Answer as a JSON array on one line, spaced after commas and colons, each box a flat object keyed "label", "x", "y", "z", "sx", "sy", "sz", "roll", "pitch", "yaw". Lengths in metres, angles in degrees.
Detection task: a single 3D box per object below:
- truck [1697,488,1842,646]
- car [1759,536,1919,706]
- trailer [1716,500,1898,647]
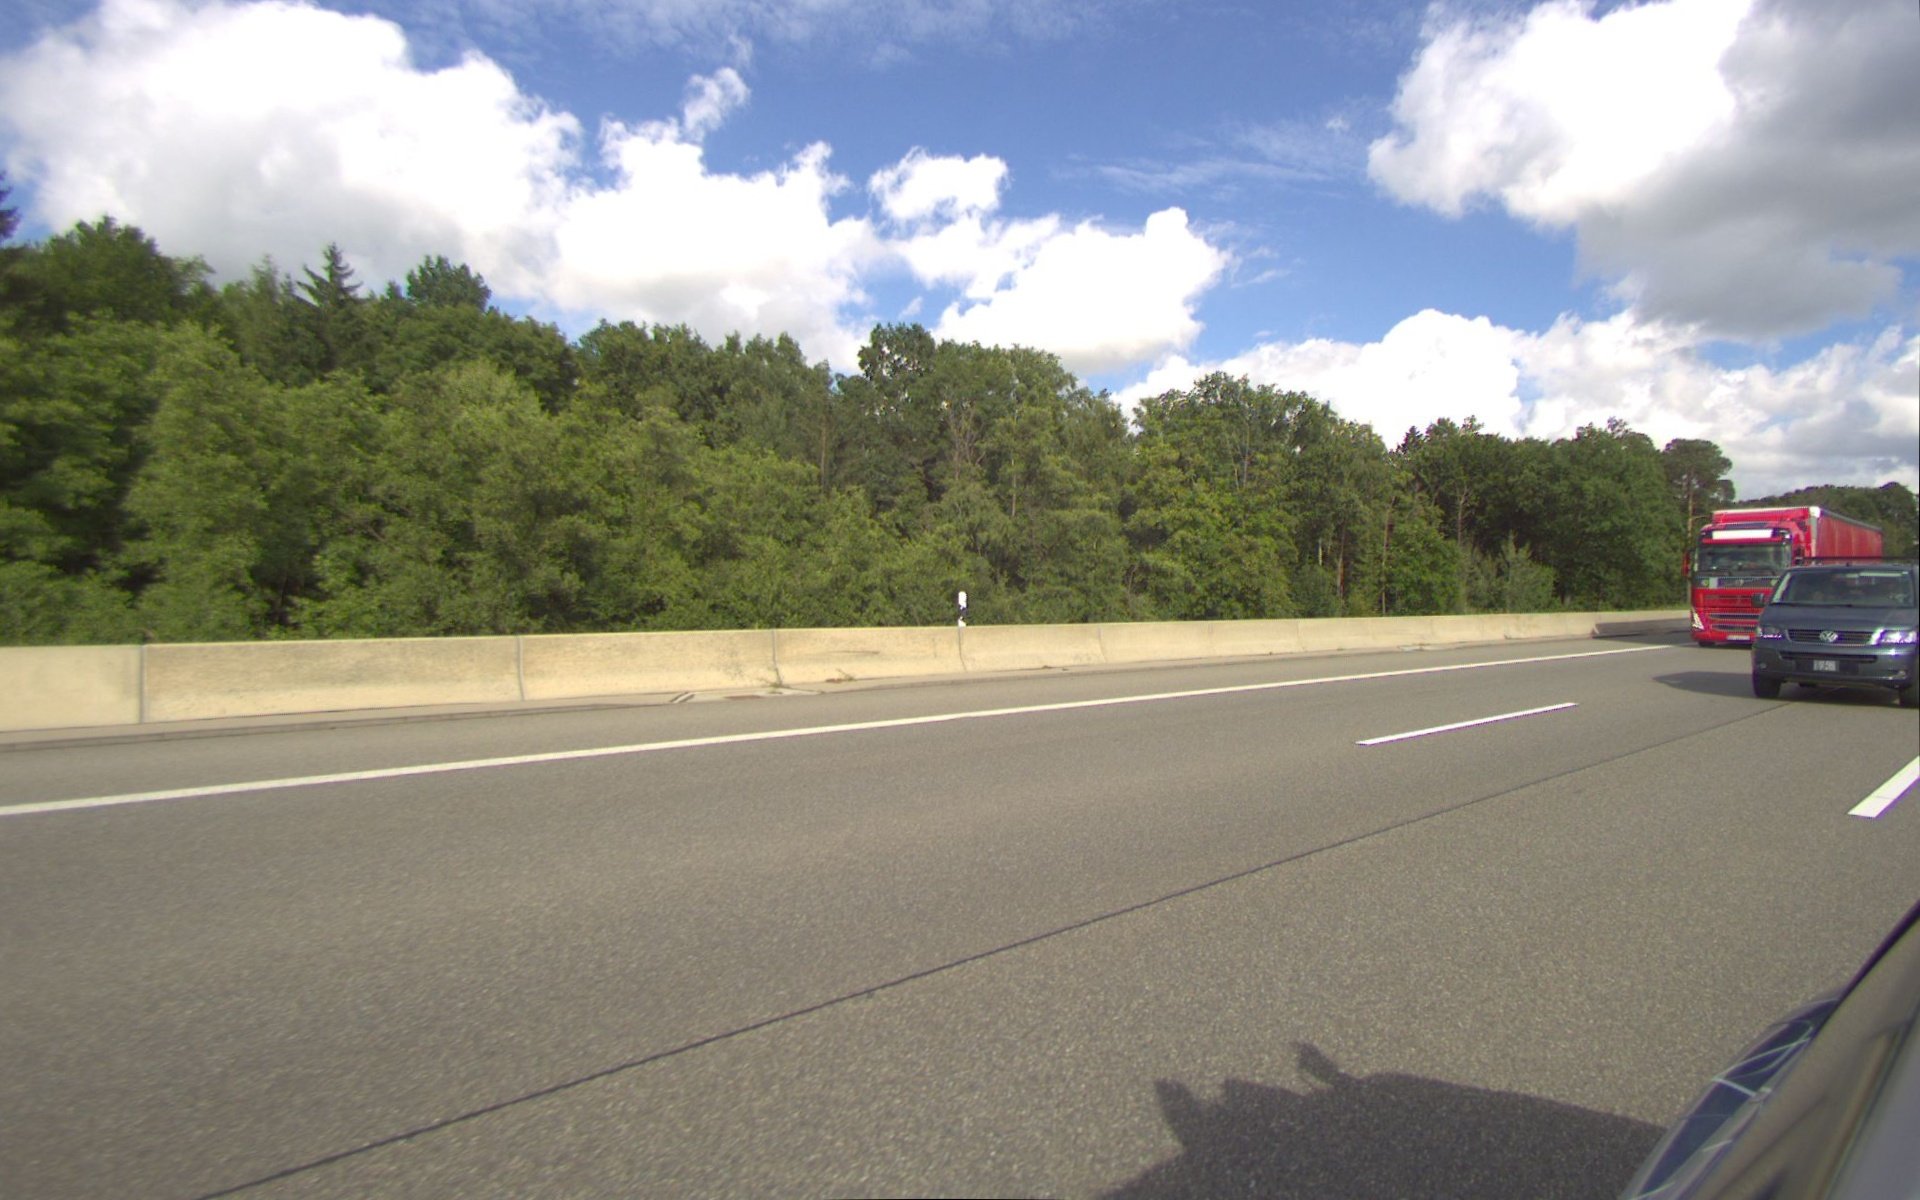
[{"label": "truck", "x": 23.833, "y": -0.925, "z": 29.760, "sx": 4.572, "sy": 4.255, "sz": 2.530, "roll": 0, "pitch": 1, "yaw": -41}, {"label": "car", "x": 13.804, "y": 0.269, "z": 15.264, "sx": 4.875, "sy": 2.193, "sz": 1.925, "roll": 1, "pitch": 1, "yaw": -42}, {"label": "trailer", "x": 29.004, "y": -0.825, "z": 34.261, "sx": 14.127, "sy": 4.171, "sz": 2.529, "roll": -1, "pitch": 1, "yaw": -41}]
